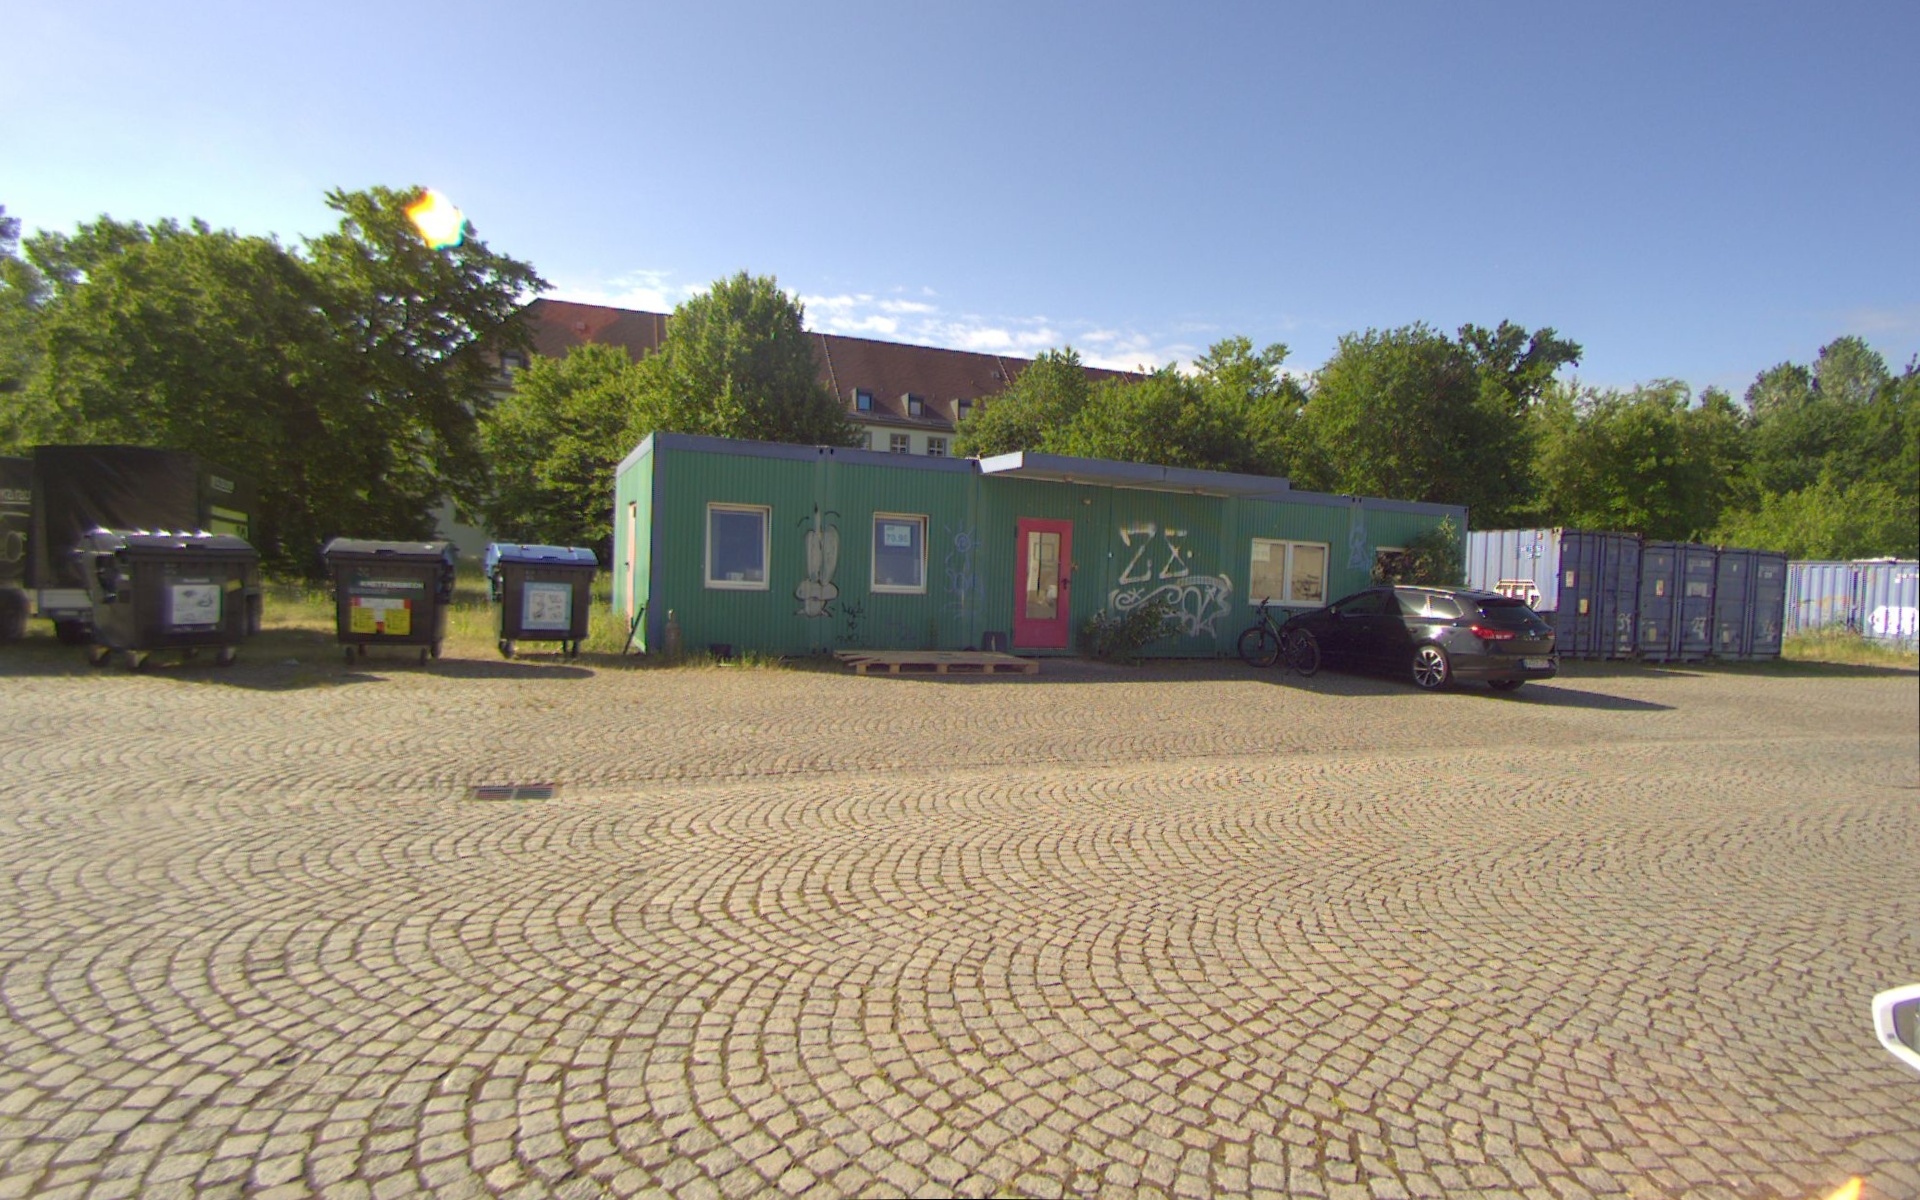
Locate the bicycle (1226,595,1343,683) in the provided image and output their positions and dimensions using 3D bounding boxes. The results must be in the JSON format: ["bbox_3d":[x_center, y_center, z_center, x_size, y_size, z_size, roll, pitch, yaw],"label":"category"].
[{"bbox_3d":[4.996,0.579,15.587,0.659,1.186,1.799,2,2,-23],"label":"bicycle"}]

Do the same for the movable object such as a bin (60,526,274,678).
[{"bbox_3d":[-8.554,-0.003,10.892,1.133,1.477,1.438,4,2,22],"label":"movable object such as a bin"}]

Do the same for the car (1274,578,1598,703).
[{"bbox_3d":[7.006,0.522,15.343,1.904,1.469,4.241,2,2,-23],"label":"car"}]

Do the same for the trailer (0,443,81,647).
[{"bbox_3d":[-12.851,-0.725,12.298,2.013,2.503,3.379,2,2,-20],"label":"trailer"}]

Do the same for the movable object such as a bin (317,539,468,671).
[{"bbox_3d":[-6.797,0.050,12.127,1.419,1.477,1.016,2,2,-22],"label":"movable object such as a bin"}]

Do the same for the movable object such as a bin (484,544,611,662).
[{"bbox_3d":[-5.522,0.036,13.441,1.425,1.477,0.877,2,3,-32],"label":"movable object such as a bin"}]

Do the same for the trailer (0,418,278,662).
[{"bbox_3d":[-10.596,-0.747,13.166,1.925,2.602,4.622,2,2,-25],"label":"trailer"}]
